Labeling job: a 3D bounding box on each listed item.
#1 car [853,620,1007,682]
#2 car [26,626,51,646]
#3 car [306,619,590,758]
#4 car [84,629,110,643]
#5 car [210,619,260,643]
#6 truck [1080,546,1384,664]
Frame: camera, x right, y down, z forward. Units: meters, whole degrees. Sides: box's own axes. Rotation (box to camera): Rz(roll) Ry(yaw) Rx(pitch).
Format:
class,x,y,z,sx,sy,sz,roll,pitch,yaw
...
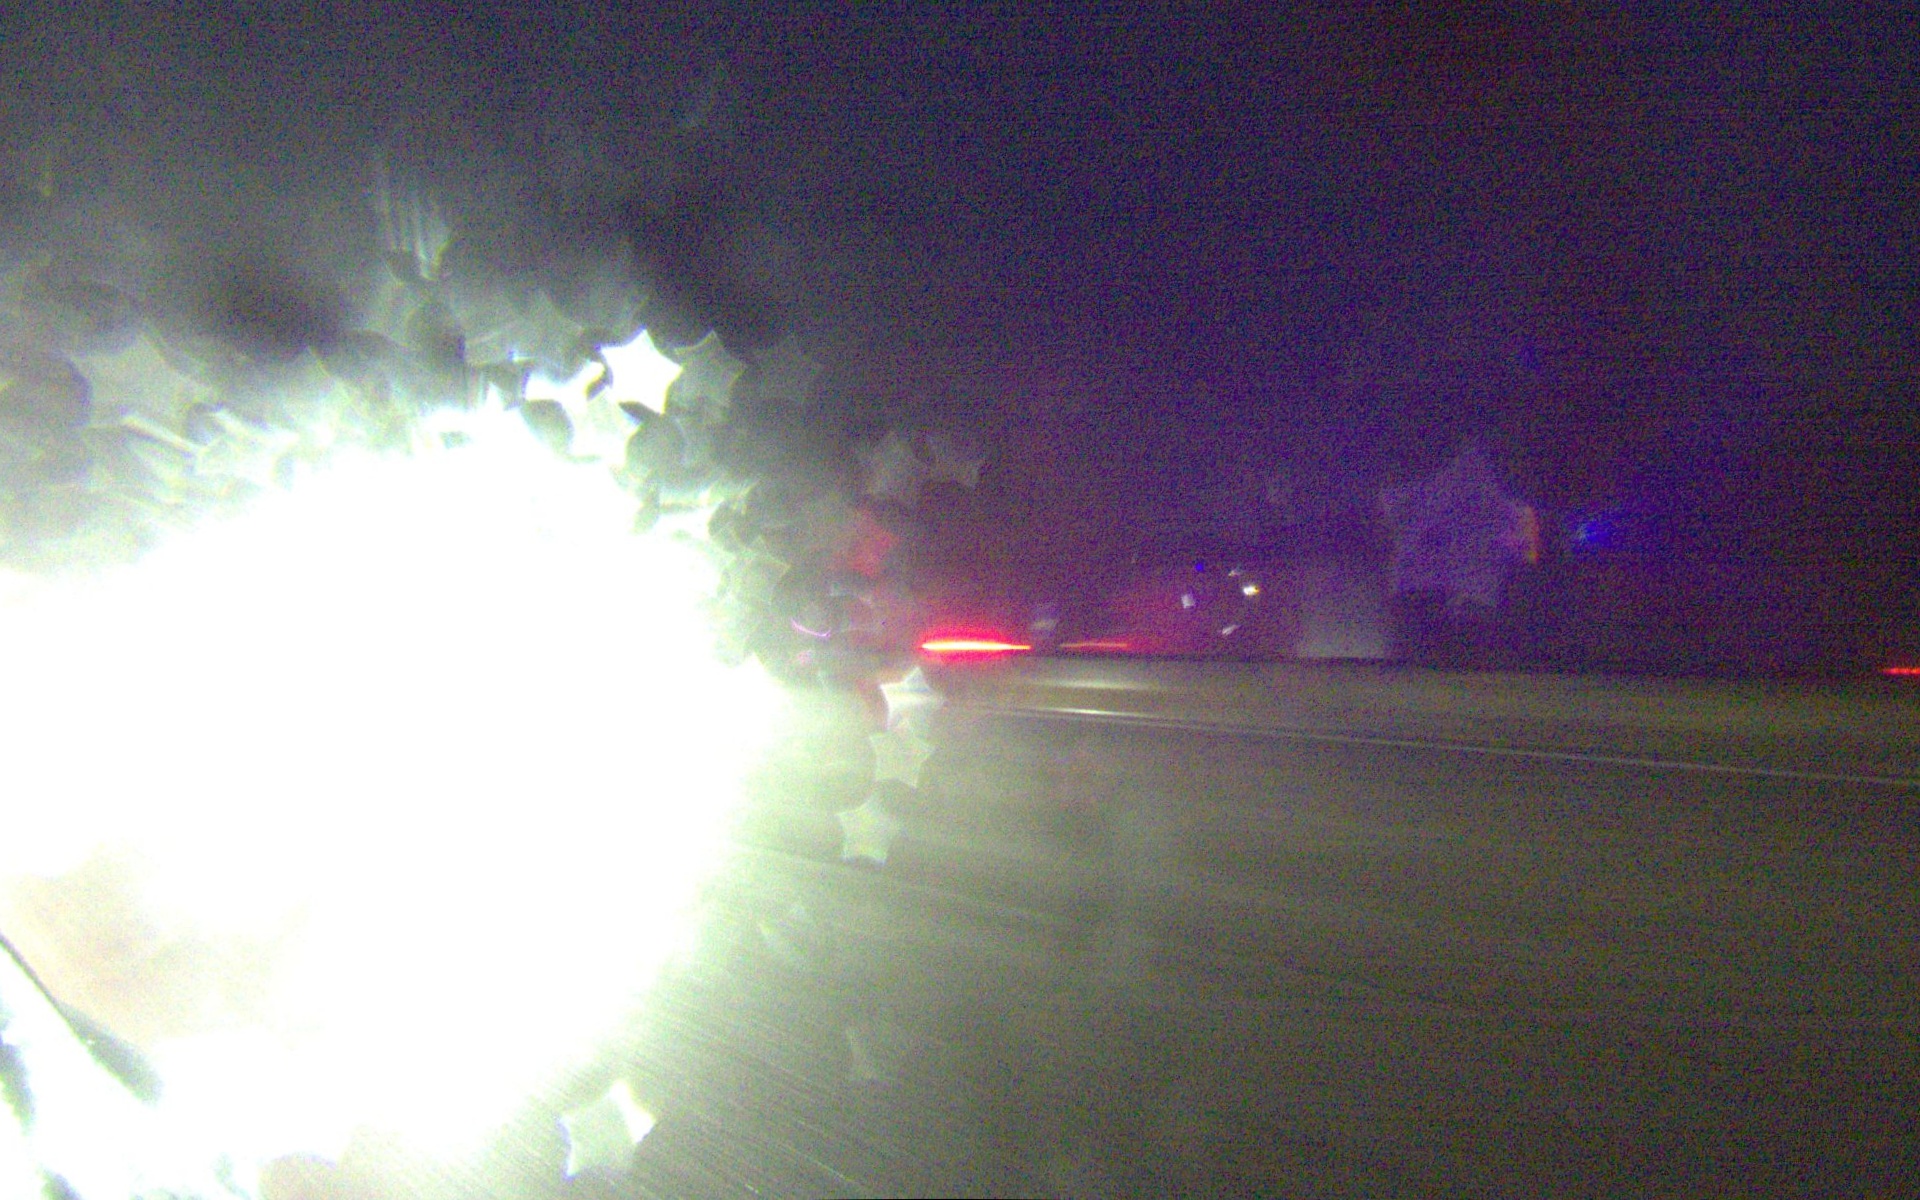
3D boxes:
class,x,y,z,sx,sy,sz,roll,pitch,yaw
car,-0.947,1.430,29.695,4.655,1.685,1.597,-1,0,40
car,-118.741,4.589,130.409,4.843,2.419,1.949,-1,-1,42
car,-6.500,0.985,12.651,4.242,1.442,1.640,-2,-1,40
car,-106.152,4.419,124.450,4.345,1.529,1.788,-1,0,40
car,-53.252,2.269,74.352,4.343,1.685,1.973,-1,0,40
truck,7.361,0.170,28.209,7.739,2.868,2.870,-1,0,41
